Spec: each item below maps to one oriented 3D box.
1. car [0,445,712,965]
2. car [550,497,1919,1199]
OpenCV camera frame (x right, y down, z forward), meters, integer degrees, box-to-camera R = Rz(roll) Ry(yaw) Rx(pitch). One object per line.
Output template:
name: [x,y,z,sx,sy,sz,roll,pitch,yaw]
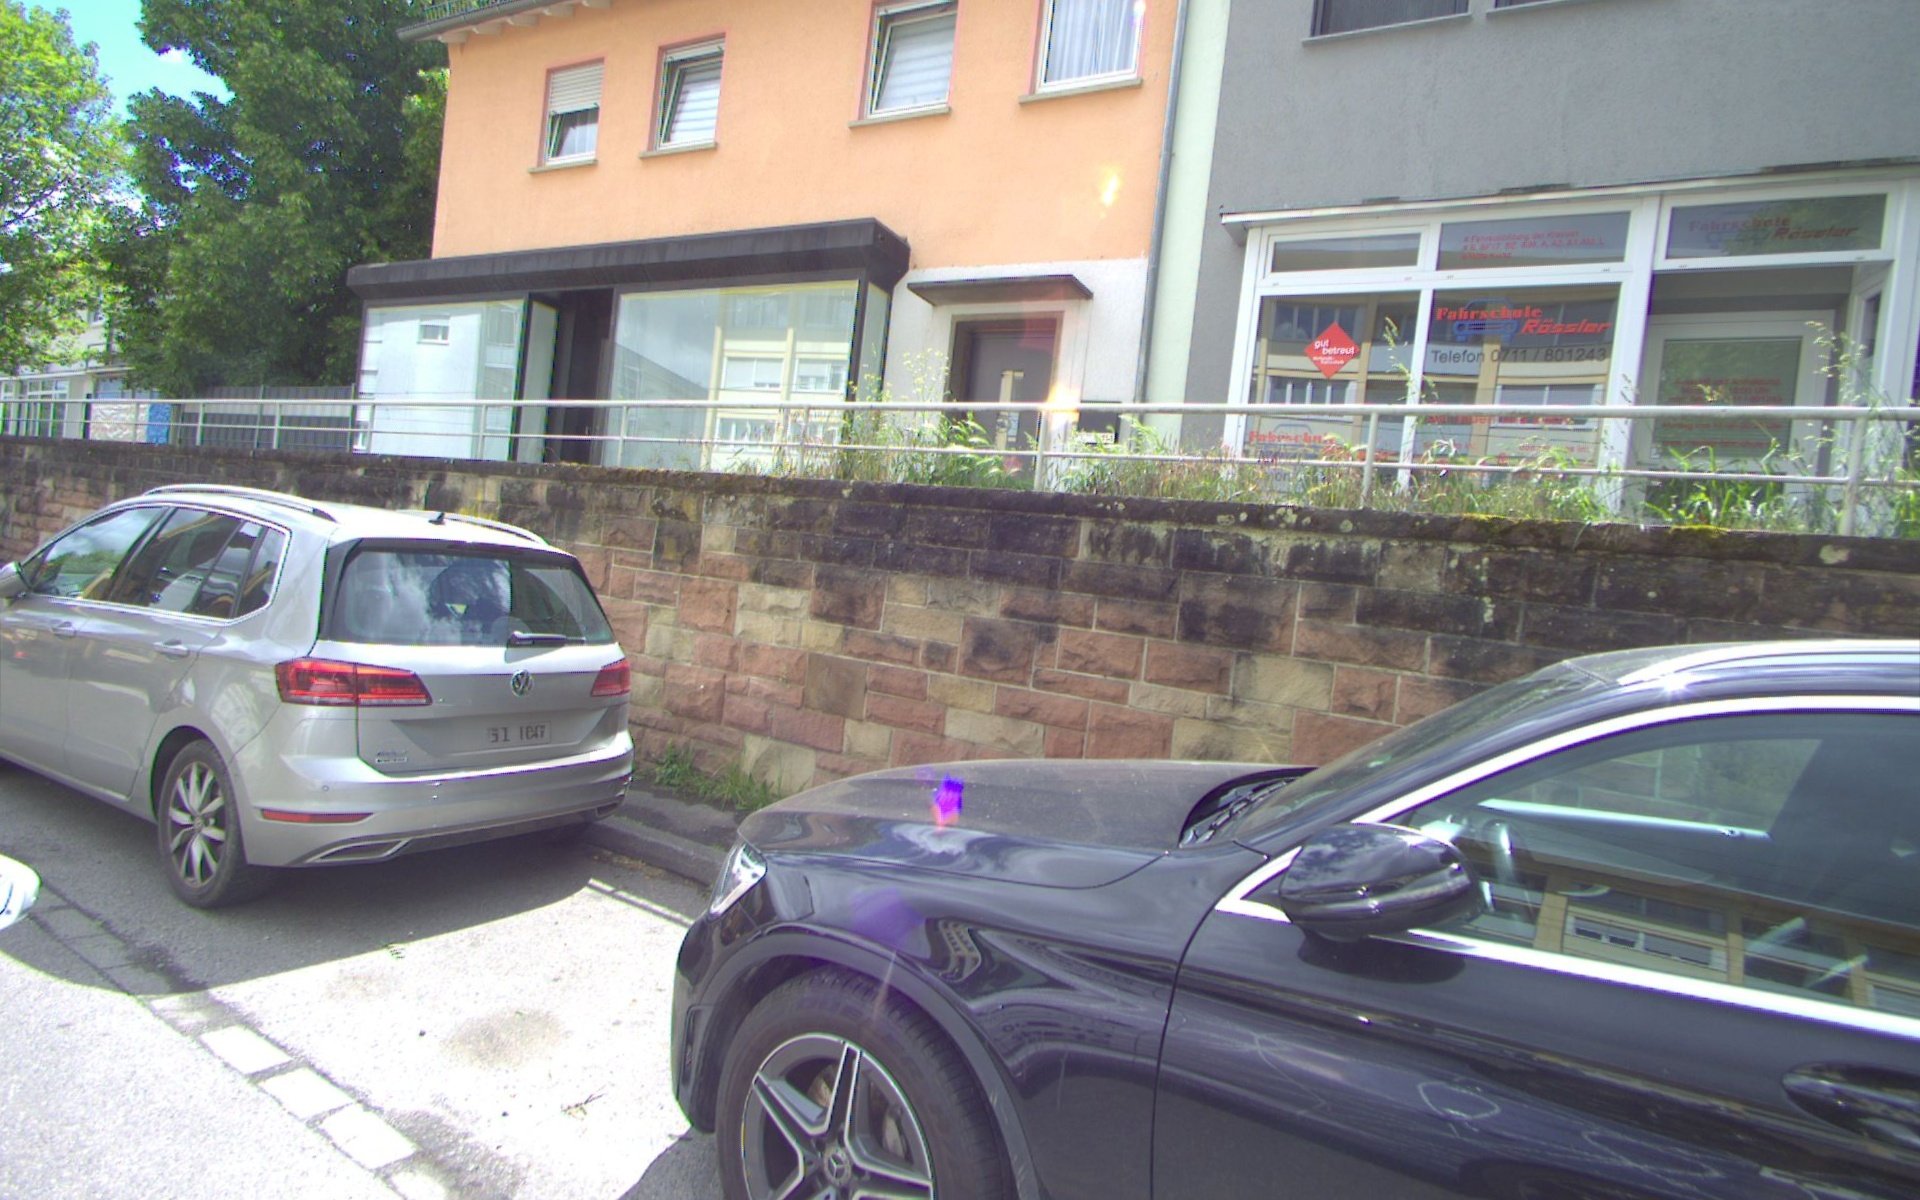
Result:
car: [-3.499,0.215,5.131,4.177,1.638,1.791,7,1,31]
car: [1.419,0.841,1.999,4.373,1.639,1.791,7,2,31]
